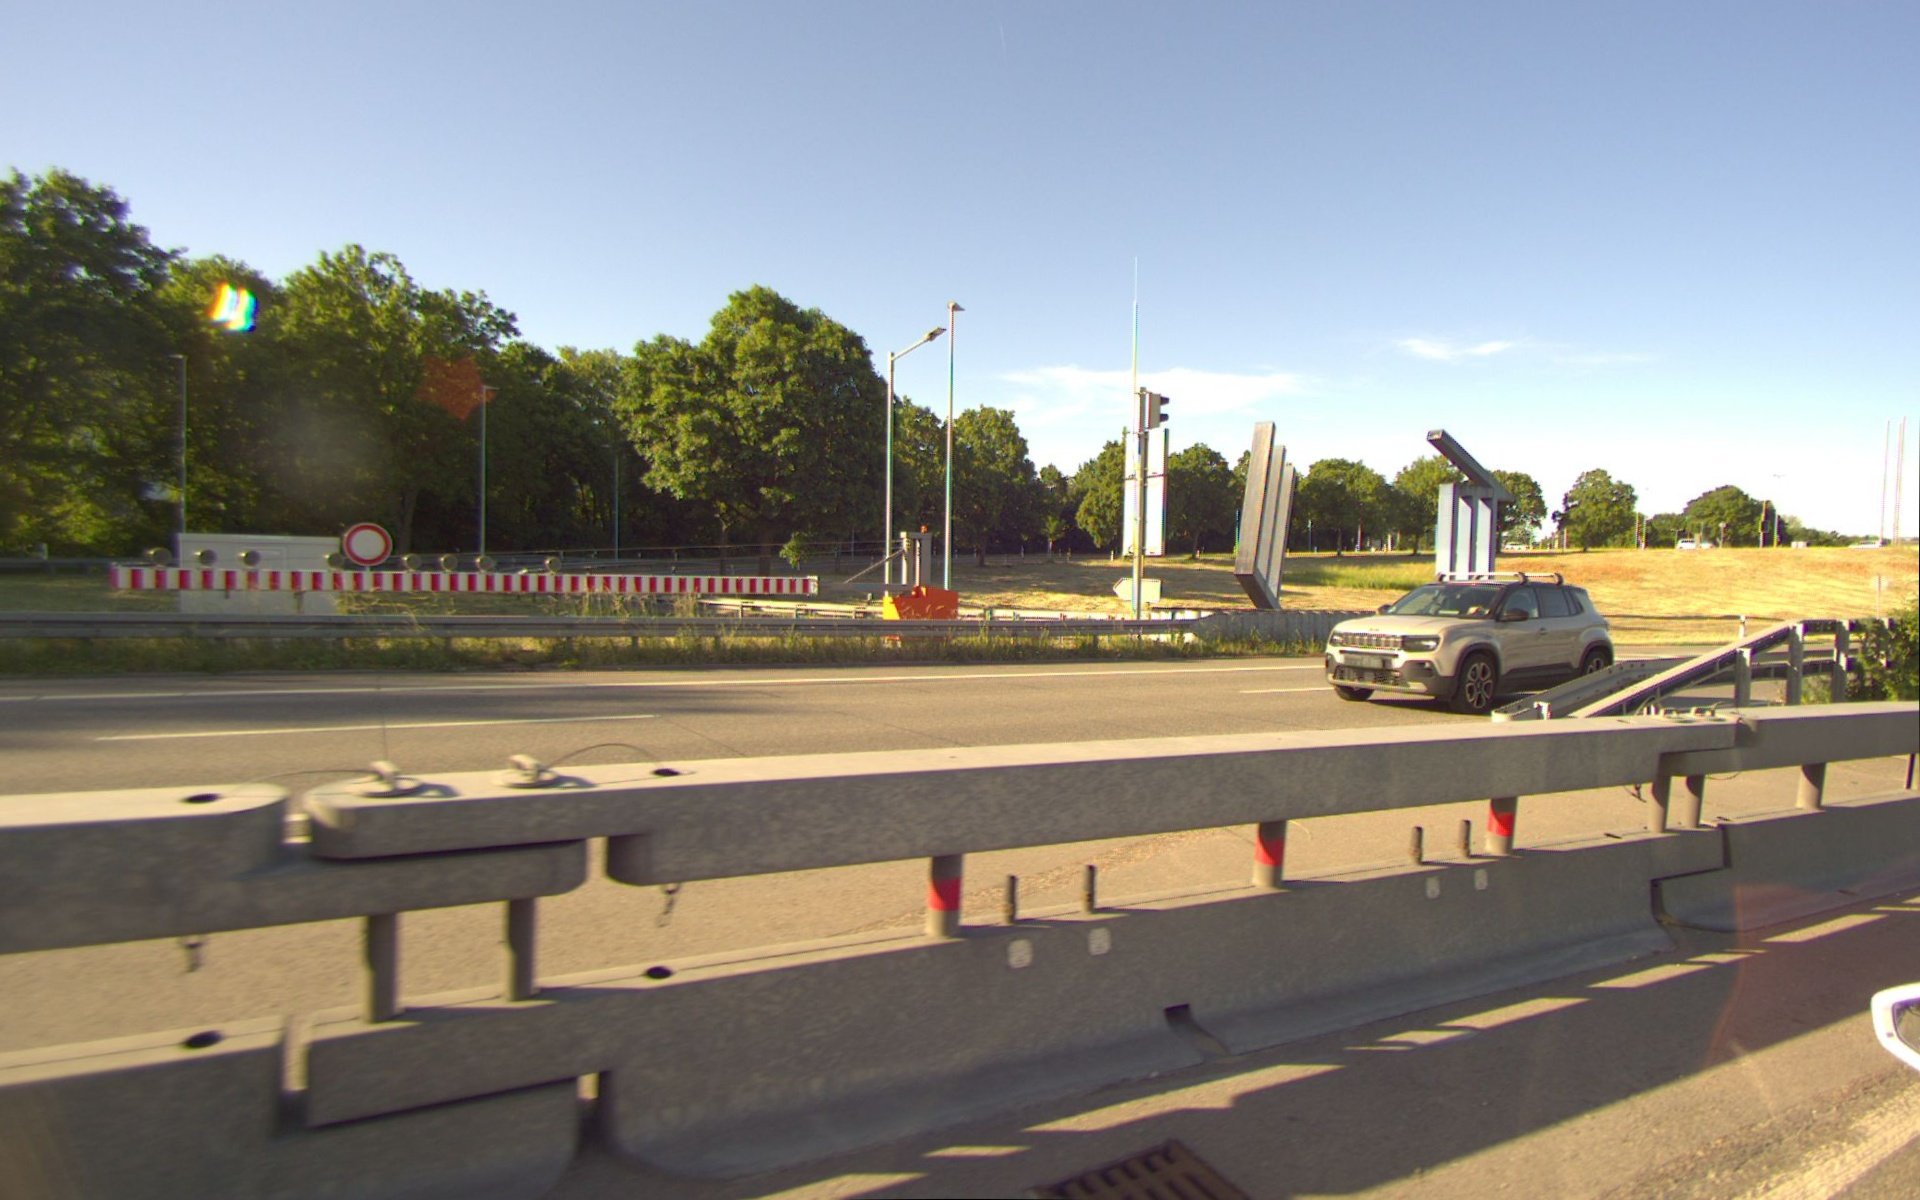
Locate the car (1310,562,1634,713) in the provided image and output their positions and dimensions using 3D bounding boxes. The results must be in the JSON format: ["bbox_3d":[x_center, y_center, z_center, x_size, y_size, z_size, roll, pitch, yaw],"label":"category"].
[{"bbox_3d":[6.401,0.411,12.437,4.117,1.596,1.706,1,1,-32],"label":"car"}]

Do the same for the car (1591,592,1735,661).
[{"bbox_3d":[16.497,0.601,23.554,3.355,1.505,1.600,1,1,-32],"label":"car"}]
